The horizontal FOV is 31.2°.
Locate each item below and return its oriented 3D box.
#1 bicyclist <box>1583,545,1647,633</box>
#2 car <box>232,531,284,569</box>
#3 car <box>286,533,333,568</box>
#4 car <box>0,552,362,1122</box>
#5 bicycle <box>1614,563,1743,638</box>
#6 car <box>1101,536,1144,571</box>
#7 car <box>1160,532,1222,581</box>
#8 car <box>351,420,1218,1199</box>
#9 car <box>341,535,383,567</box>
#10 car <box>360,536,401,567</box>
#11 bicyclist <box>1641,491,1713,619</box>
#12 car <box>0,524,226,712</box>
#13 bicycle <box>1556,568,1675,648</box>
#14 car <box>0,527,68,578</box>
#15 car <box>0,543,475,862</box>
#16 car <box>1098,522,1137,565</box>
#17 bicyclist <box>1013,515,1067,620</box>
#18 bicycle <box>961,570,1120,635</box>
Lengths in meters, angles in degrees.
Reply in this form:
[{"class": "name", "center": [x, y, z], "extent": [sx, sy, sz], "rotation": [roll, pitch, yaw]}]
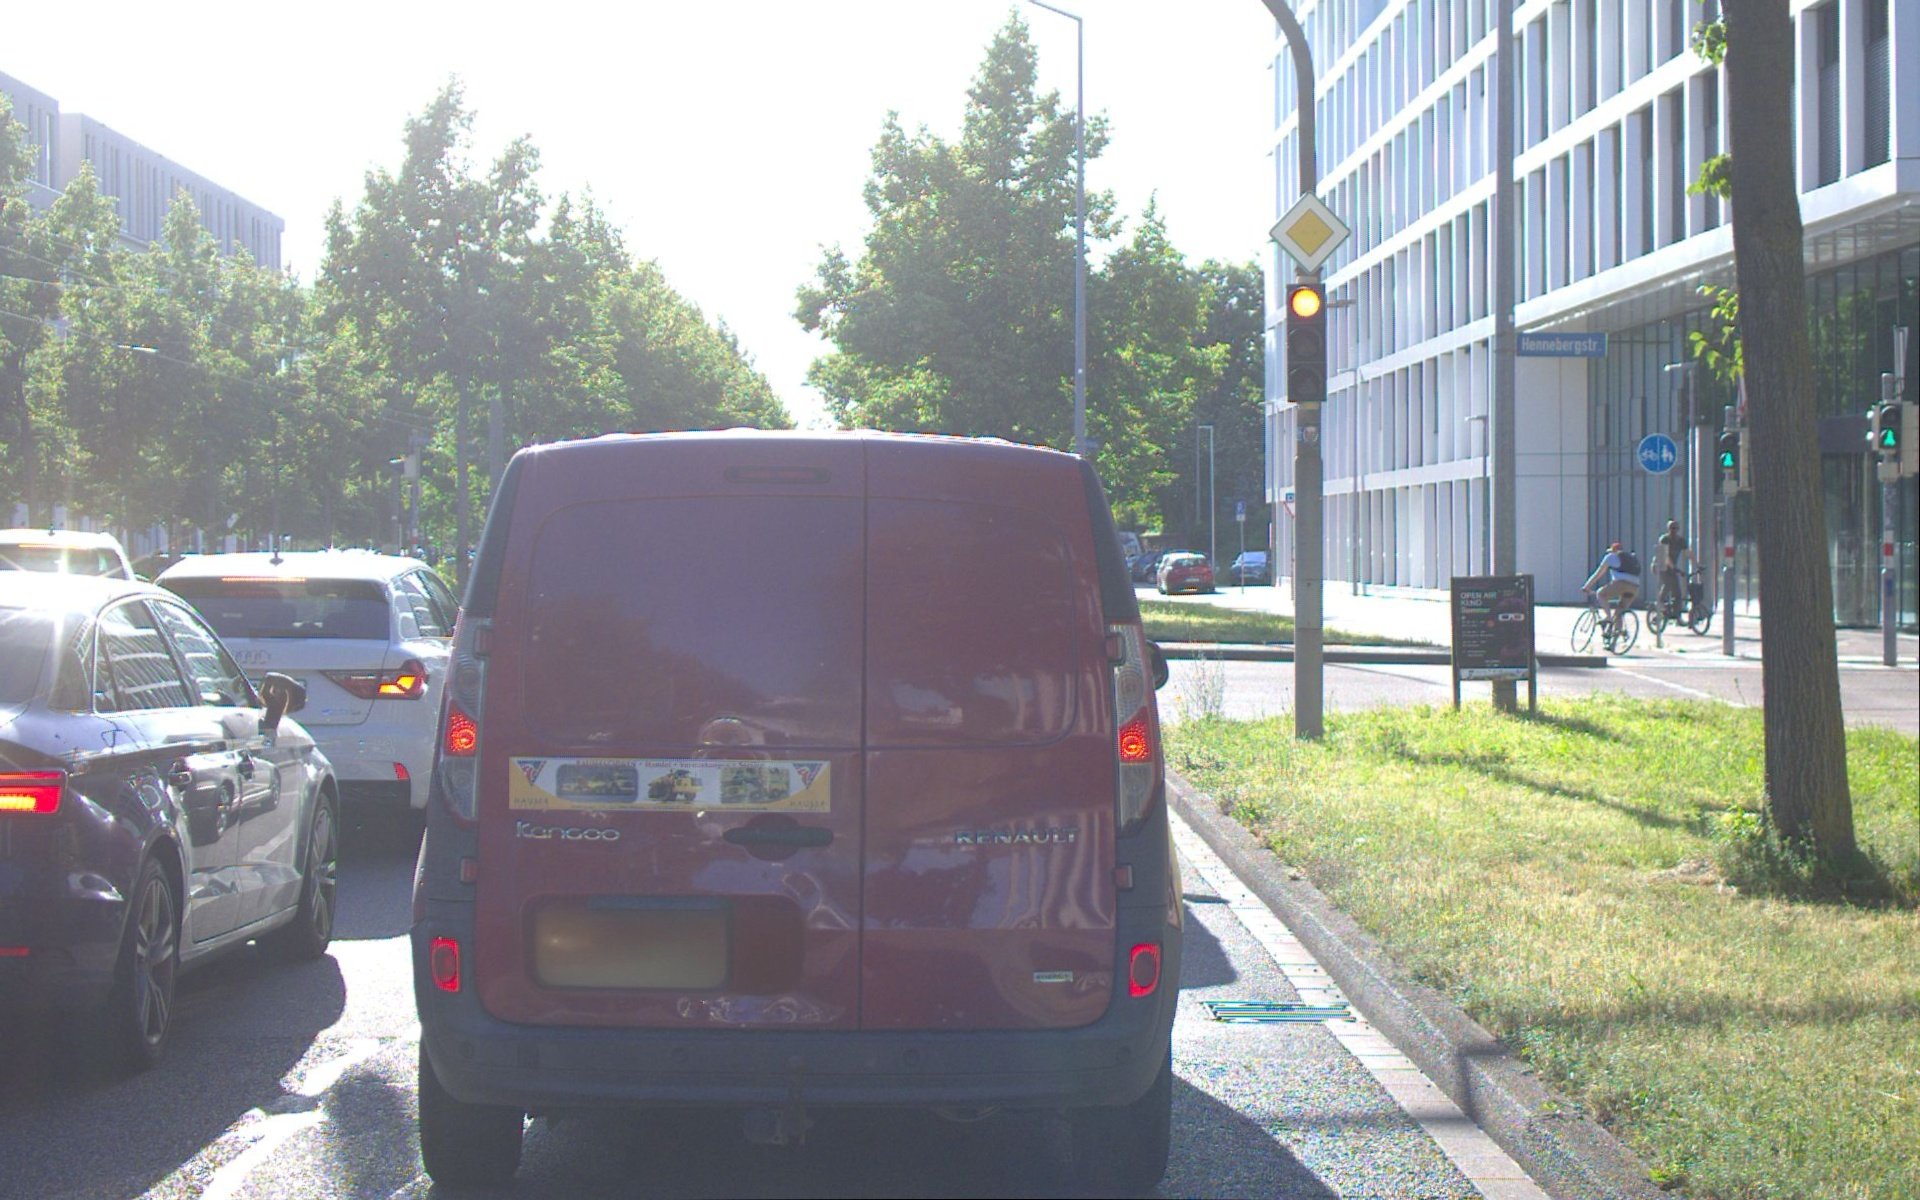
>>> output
[{"class": "bicyclist", "center": [9.524, -0.170, 50.020], "extent": [0.818, 1.270, 0.683], "rotation": [0, 1, 2]}, {"class": "car", "center": [-37.232, -2.678, 182.410], "extent": [1.993, 2.007, 4.000], "rotation": [0, 1, -1]}, {"class": "car", "center": [-37.683, -2.892, 199.225], "extent": [1.993, 2.007, 4.000], "rotation": [0, 1, -1]}, {"class": "car", "center": [-3.167, 0.572, 10.891], "extent": [1.842, 1.421, 4.339], "rotation": [0, 1, -1]}, {"class": "bicycle", "center": [11.886, -0.008, 56.982], "extent": [0.815, 1.186, 2.953], "rotation": [0, 1, -16]}, {"class": "car", "center": [8.481, -2.440, 179.817], "extent": [1.993, 1.776, 4.000], "rotation": [0, 1, -1]}, {"class": "car", "center": [8.573, -1.631, 127.993], "extent": [1.993, 1.776, 4.000], "rotation": [0, 1, -1]}, {"class": "car", "center": [-0.400, 0.468, 9.320], "extent": [1.842, 1.774, 4.000], "rotation": [0, 1, -1]}, {"class": "car", "center": [-37.764, -3.107, 217.243], "extent": [1.993, 2.007, 4.000], "rotation": [0, 1, -1]}, {"class": "car", "center": [-37.553, -3.165, 222.867], "extent": [1.993, 2.007, 4.000], "rotation": [0, 1, -1]}, {"class": "bicyclist", "center": [11.881, -0.750, 56.978], "extent": [0.815, 2.085, 0.943], "rotation": [0, 1, -16]}, {"class": "car", "center": [-7.615, 0.098, 29.938], "extent": [1.515, 1.487, 4.216], "rotation": [0, 2, 0]}, {"class": "bicycle", "center": [9.523, 0.100, 50.097], "extent": [0.818, 1.111, 2.847], "rotation": [0, 1, -8]}, {"class": "car", "center": [-36.903, -1.907, 136.497], "extent": [1.993, 2.007, 4.000], "rotation": [0, 1, -1]}, {"class": "car", "center": [-3.617, 0.430, 17.456], "extent": [1.803, 1.421, 3.901], "rotation": [0, 1, -1]}, {"class": "car", "center": [9.066, -3.274, 198.326], "extent": [1.993, 2.488, 4.987], "rotation": [0, 1, -1]}, {"class": "bicyclist", "center": [1.489, -0.606, 64.128], "extent": [0.998, 1.940, 0.818], "rotation": [0, 1, 1]}, {"class": "bicycle", "center": [1.505, 0.045, 64.123], "extent": [2.942, 1.186, 0.818], "rotation": [0, 1, 1]}]
